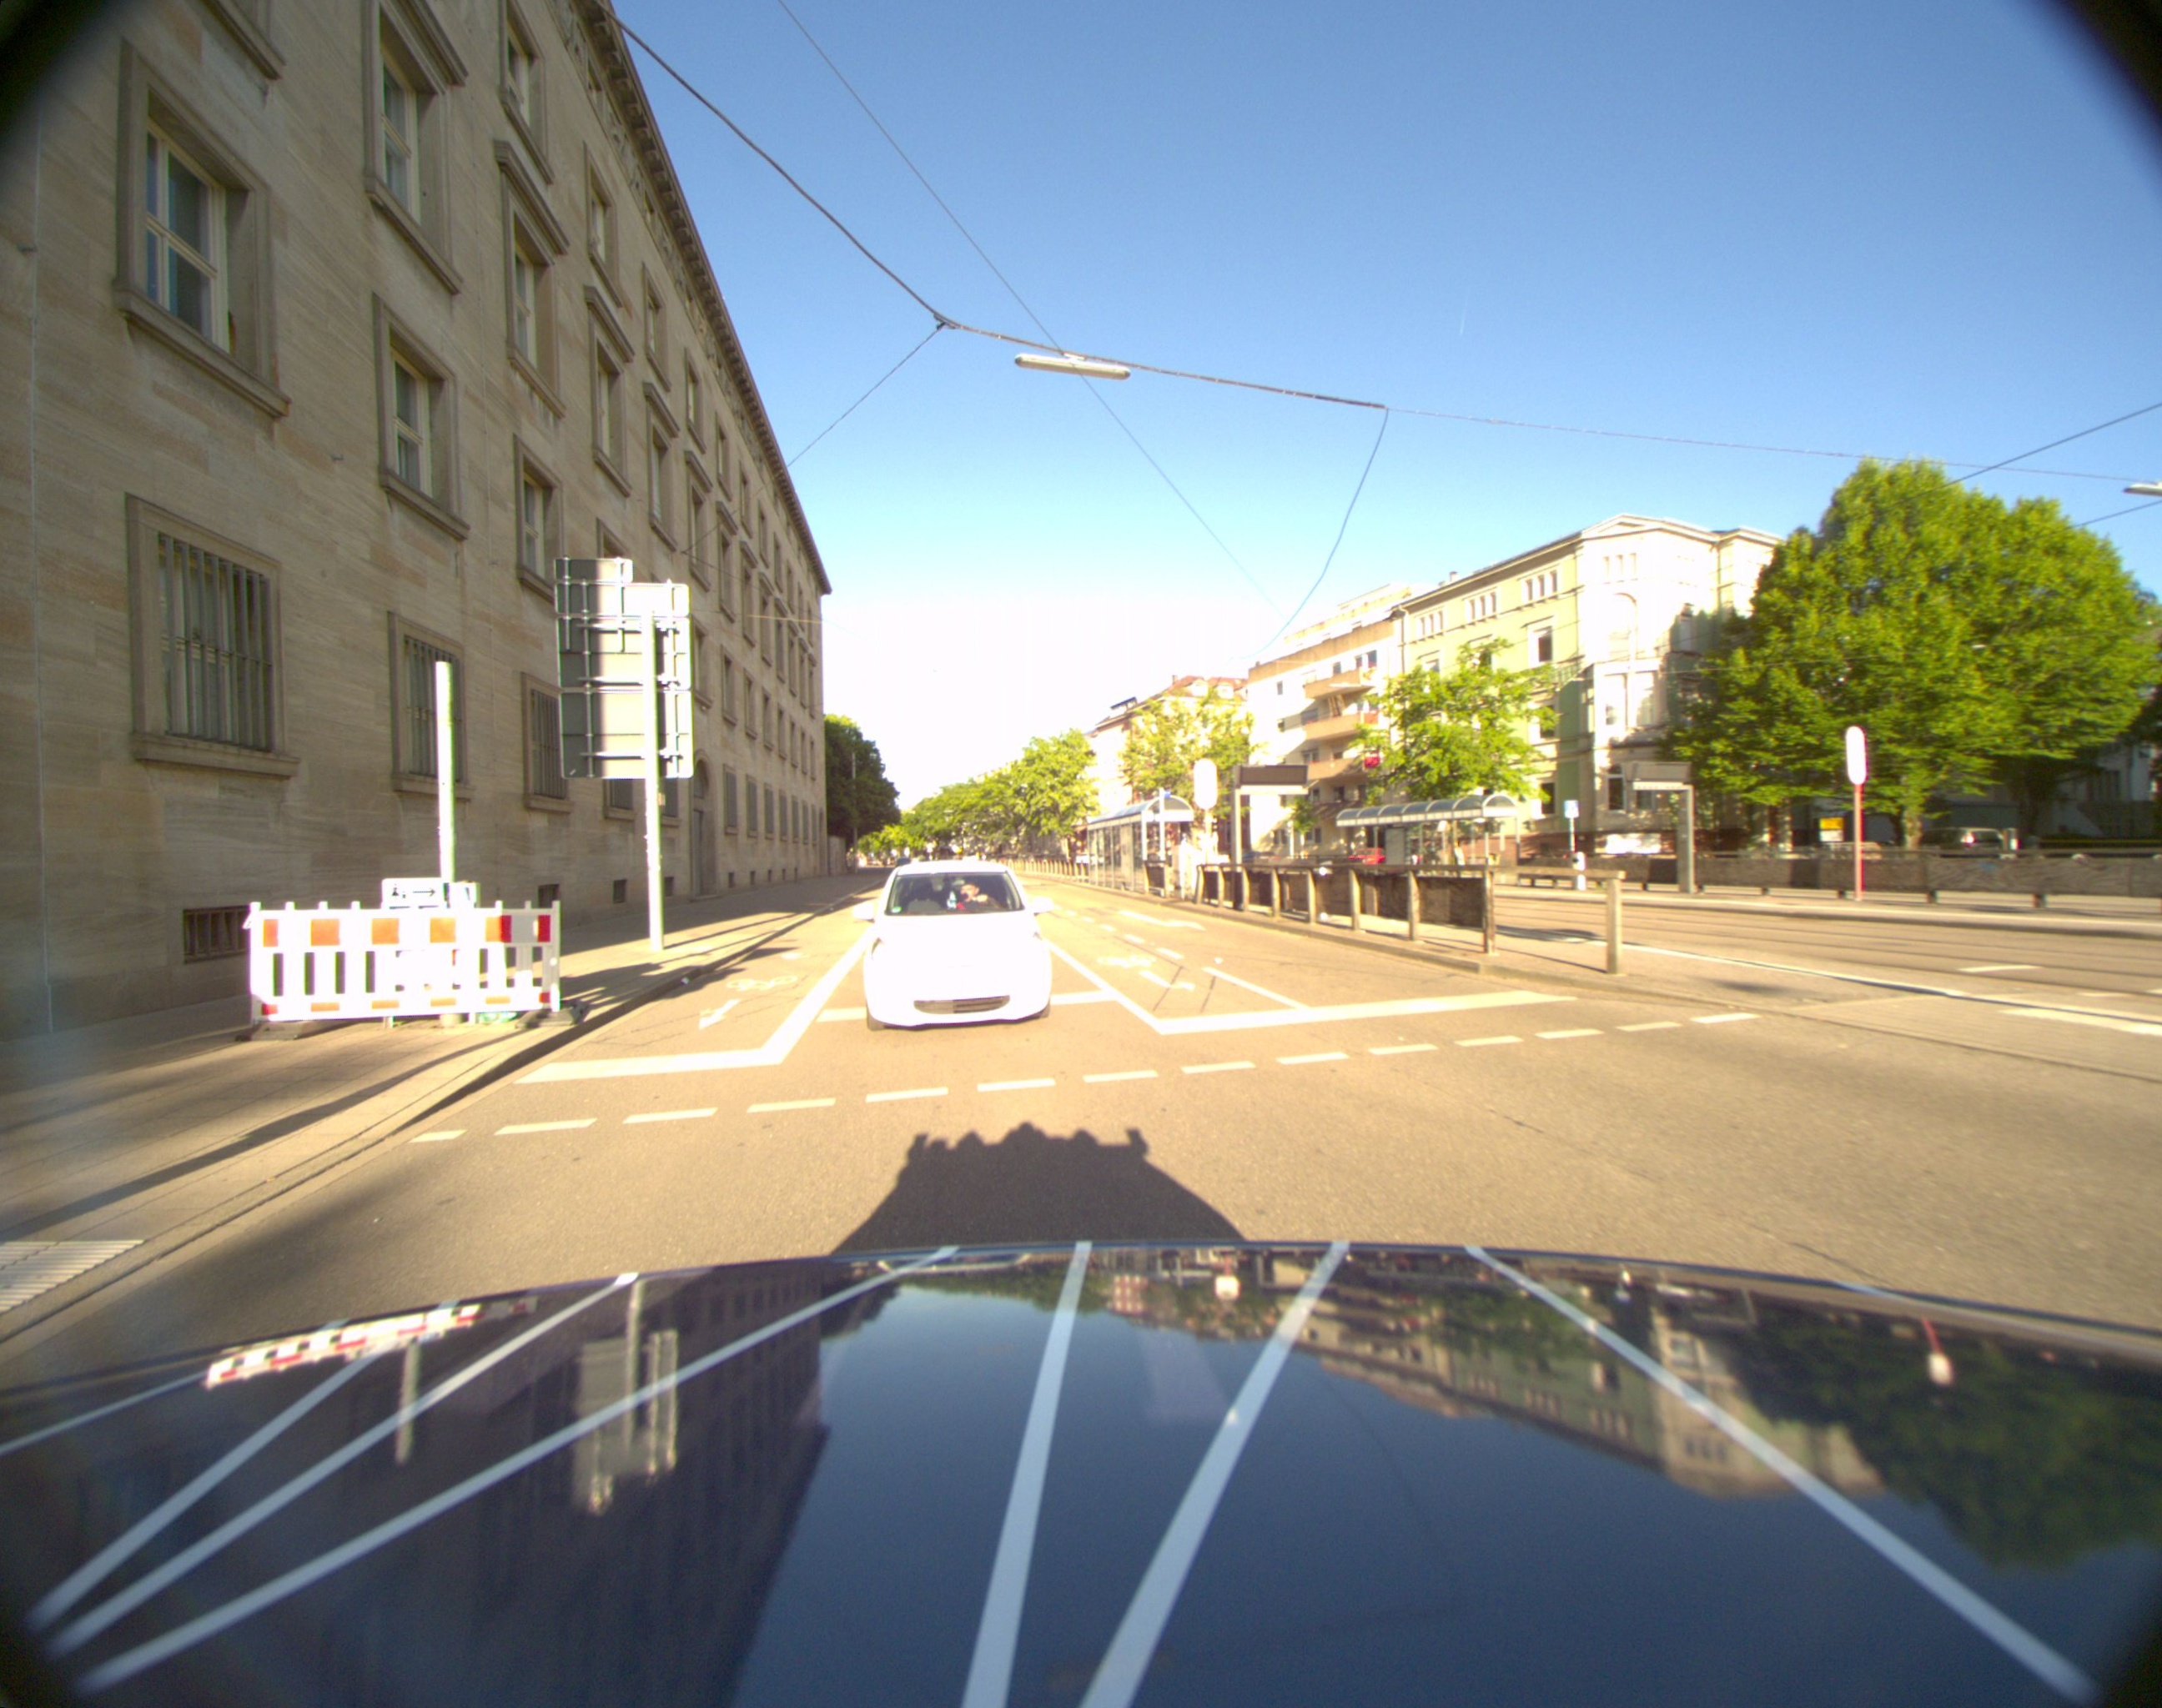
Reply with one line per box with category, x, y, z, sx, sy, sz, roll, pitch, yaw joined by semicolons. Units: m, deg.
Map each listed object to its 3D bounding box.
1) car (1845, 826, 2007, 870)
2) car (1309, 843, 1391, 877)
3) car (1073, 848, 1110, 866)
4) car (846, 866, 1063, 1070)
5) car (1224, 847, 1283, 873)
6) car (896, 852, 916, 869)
car;33.706;-0.248;30.468;1.741;1.576;3.994;-3;1;-15
car;14.296;0.288;40.365;4.004;1.576;1.737;-3;1;-25
car;1.092;0.293;78.373;1.736;1.576;4.007;-2;1;35
car;-1.334;0.939;8.031;1.680;1.456;3.761;-3;1;-10
car;11.421;0.400;50.569;1.742;1.576;3.992;-3;1;-24
car;-21.729;0.792;94.390;1.761;2.002;3.699;-1;0;-23
